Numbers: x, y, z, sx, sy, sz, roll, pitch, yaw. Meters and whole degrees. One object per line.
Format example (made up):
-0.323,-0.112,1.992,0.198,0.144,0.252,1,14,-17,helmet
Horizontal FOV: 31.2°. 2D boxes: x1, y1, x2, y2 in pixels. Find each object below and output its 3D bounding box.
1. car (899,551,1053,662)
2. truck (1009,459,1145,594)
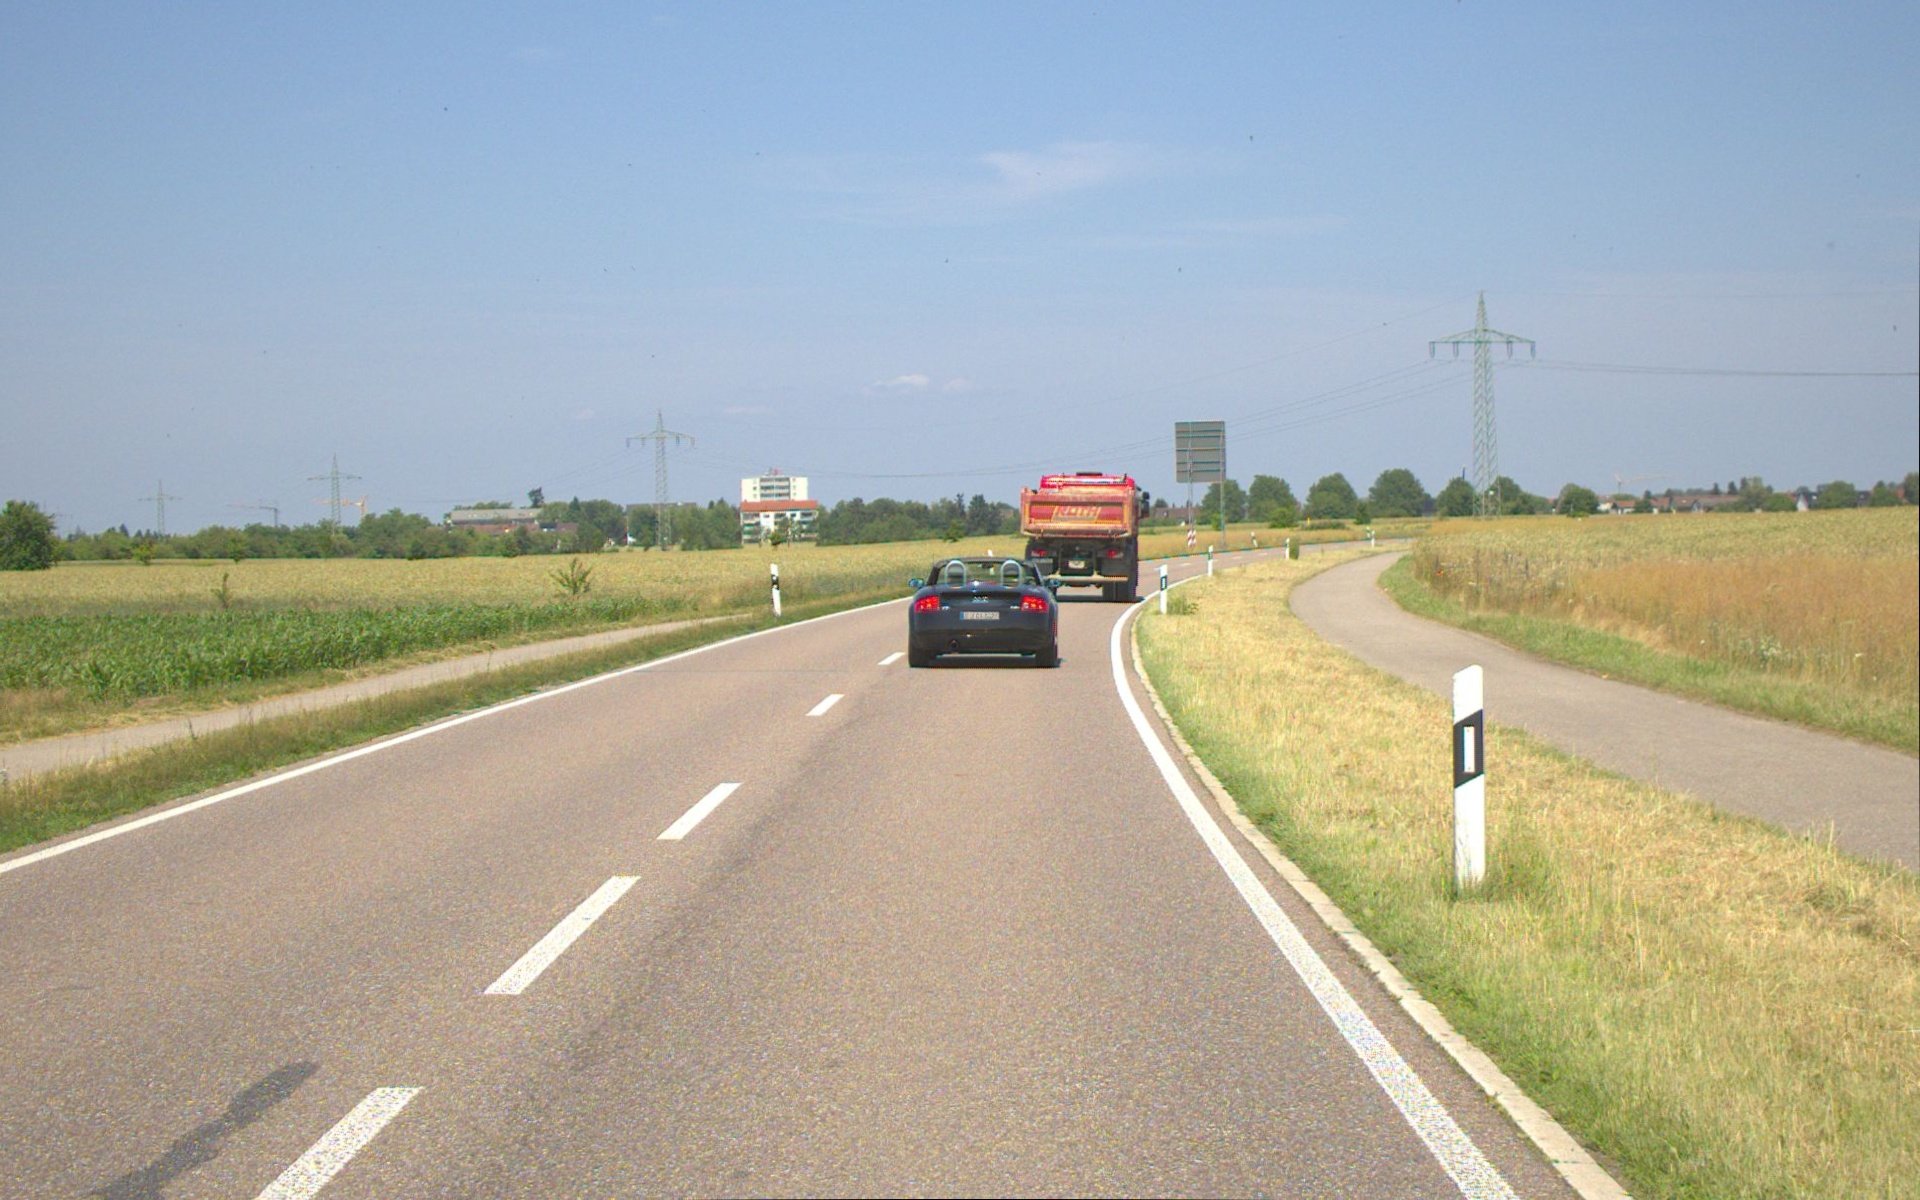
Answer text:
0.238,0.052,41.557,1.744,1.275,4.000,0,1,2,car
2.860,-1.709,82.013,2.938,3.078,7.195,0,1,4,truck
